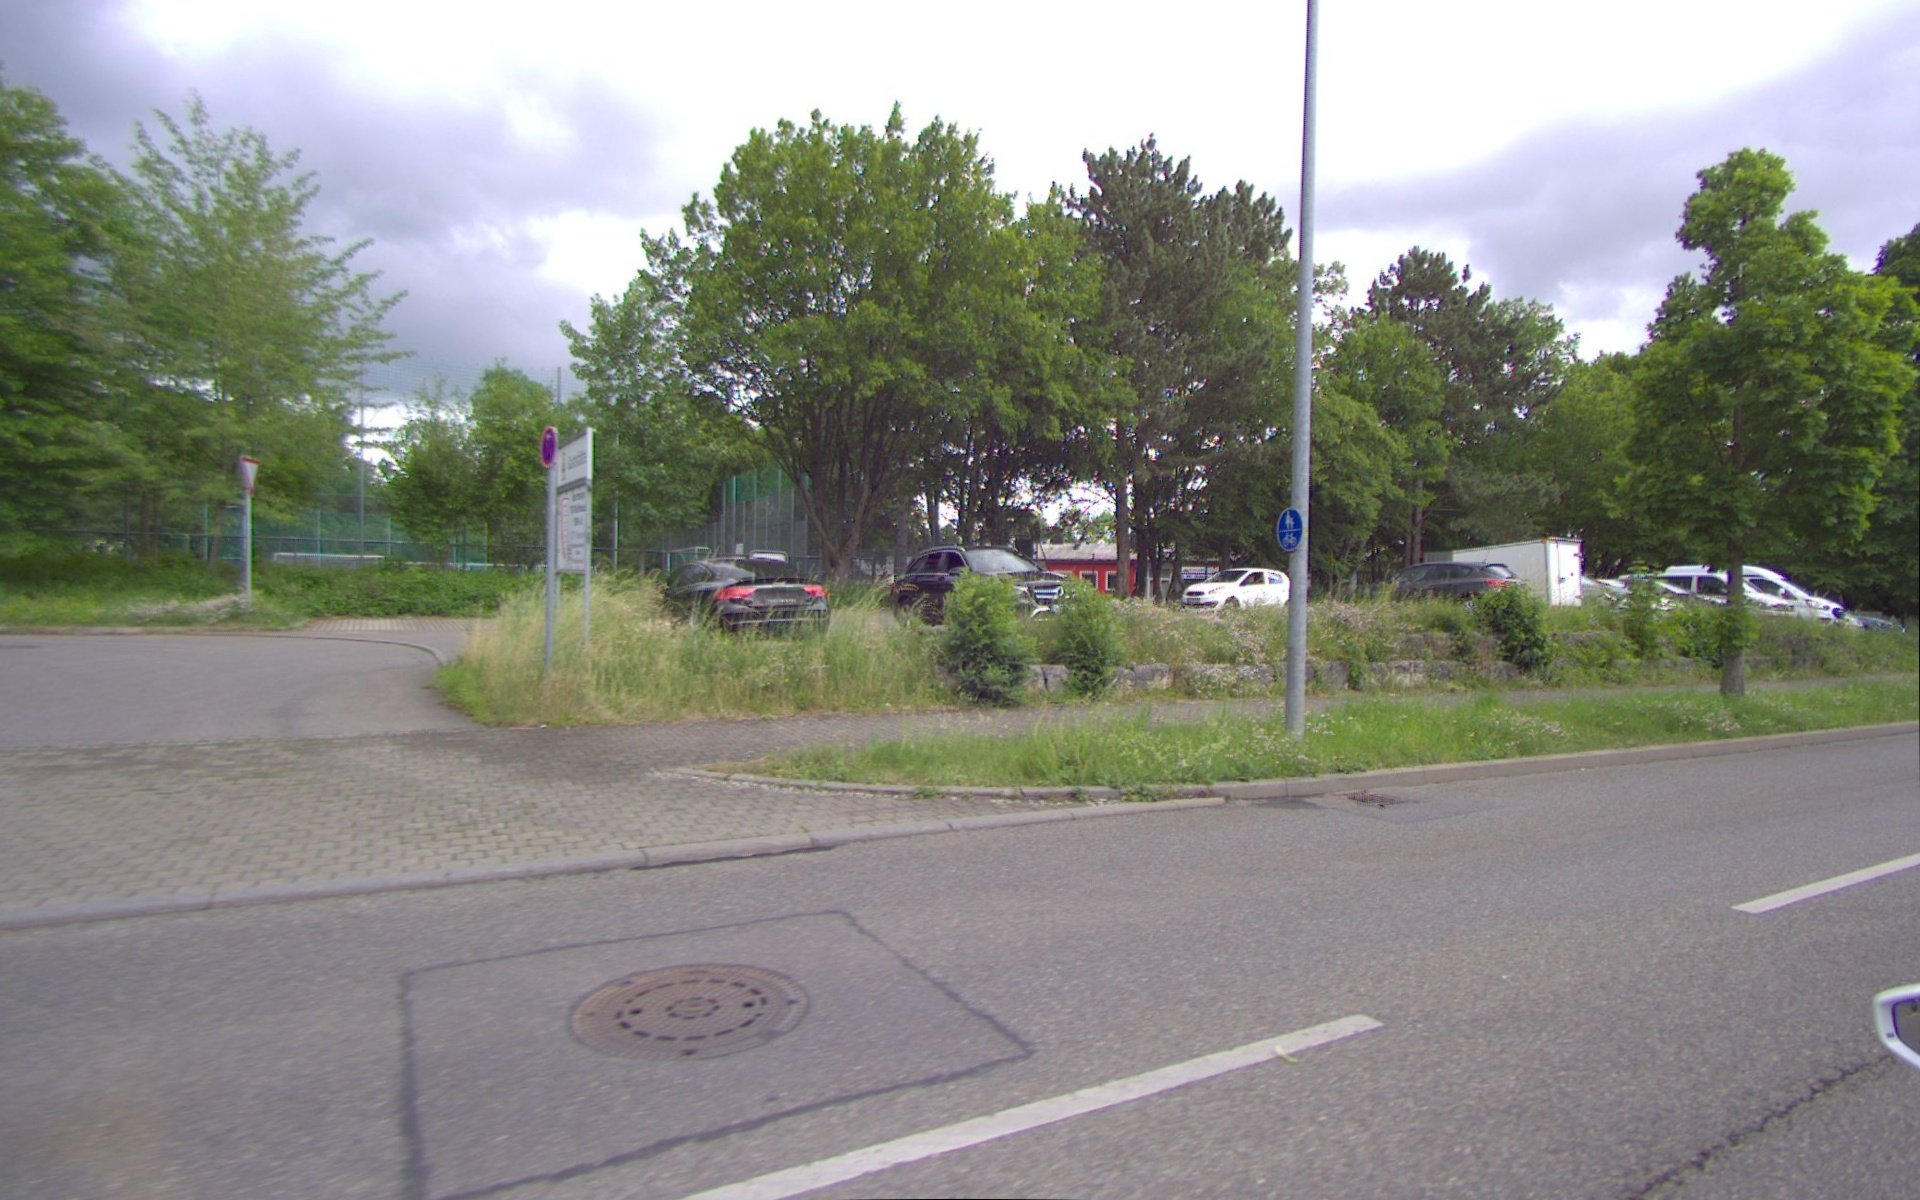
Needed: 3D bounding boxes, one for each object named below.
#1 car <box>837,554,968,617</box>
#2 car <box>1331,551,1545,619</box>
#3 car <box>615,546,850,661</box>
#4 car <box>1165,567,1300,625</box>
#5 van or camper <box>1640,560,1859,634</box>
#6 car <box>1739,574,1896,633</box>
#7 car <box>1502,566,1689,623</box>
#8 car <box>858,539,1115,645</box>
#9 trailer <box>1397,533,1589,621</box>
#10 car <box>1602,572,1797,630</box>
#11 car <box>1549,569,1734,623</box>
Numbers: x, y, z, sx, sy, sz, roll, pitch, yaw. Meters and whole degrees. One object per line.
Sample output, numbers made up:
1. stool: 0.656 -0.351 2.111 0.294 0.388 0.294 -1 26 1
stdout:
1. car: -1.760 -0.429 29.696 1.982 1.684 3.957 1 0 -37
2. car: 11.265 -0.293 23.930 1.819 1.468 4.281 1 -1 -36
3. car: -3.418 0.017 14.551 1.980 1.416 3.928 1 1 -35
4. car: 8.099 -0.108 29.812 3.623 1.606 1.876 1 1 -32
5. van or camper: 25.872 -0.138 33.168 1.979 2.232 5.301 1 1 -33
6. car: 31.643 0.103 37.170 1.977 2.040 3.967 1 0 -30
7. car: 18.694 -0.181 29.732 1.979 1.528 4.232 1 0 -34
8. car: 0.293 -0.147 17.981 2.184 1.606 4.895 1 0 -34
9. trailer: 13.606 -0.574 25.876 1.885 2.040 3.968 1 1 -30
10. car: 23.530 -0.006 32.180 1.973 1.678 4.627 2 0 -26
11. car: 20.888 -0.136 30.962 1.979 1.528 4.283 1 0 -34
